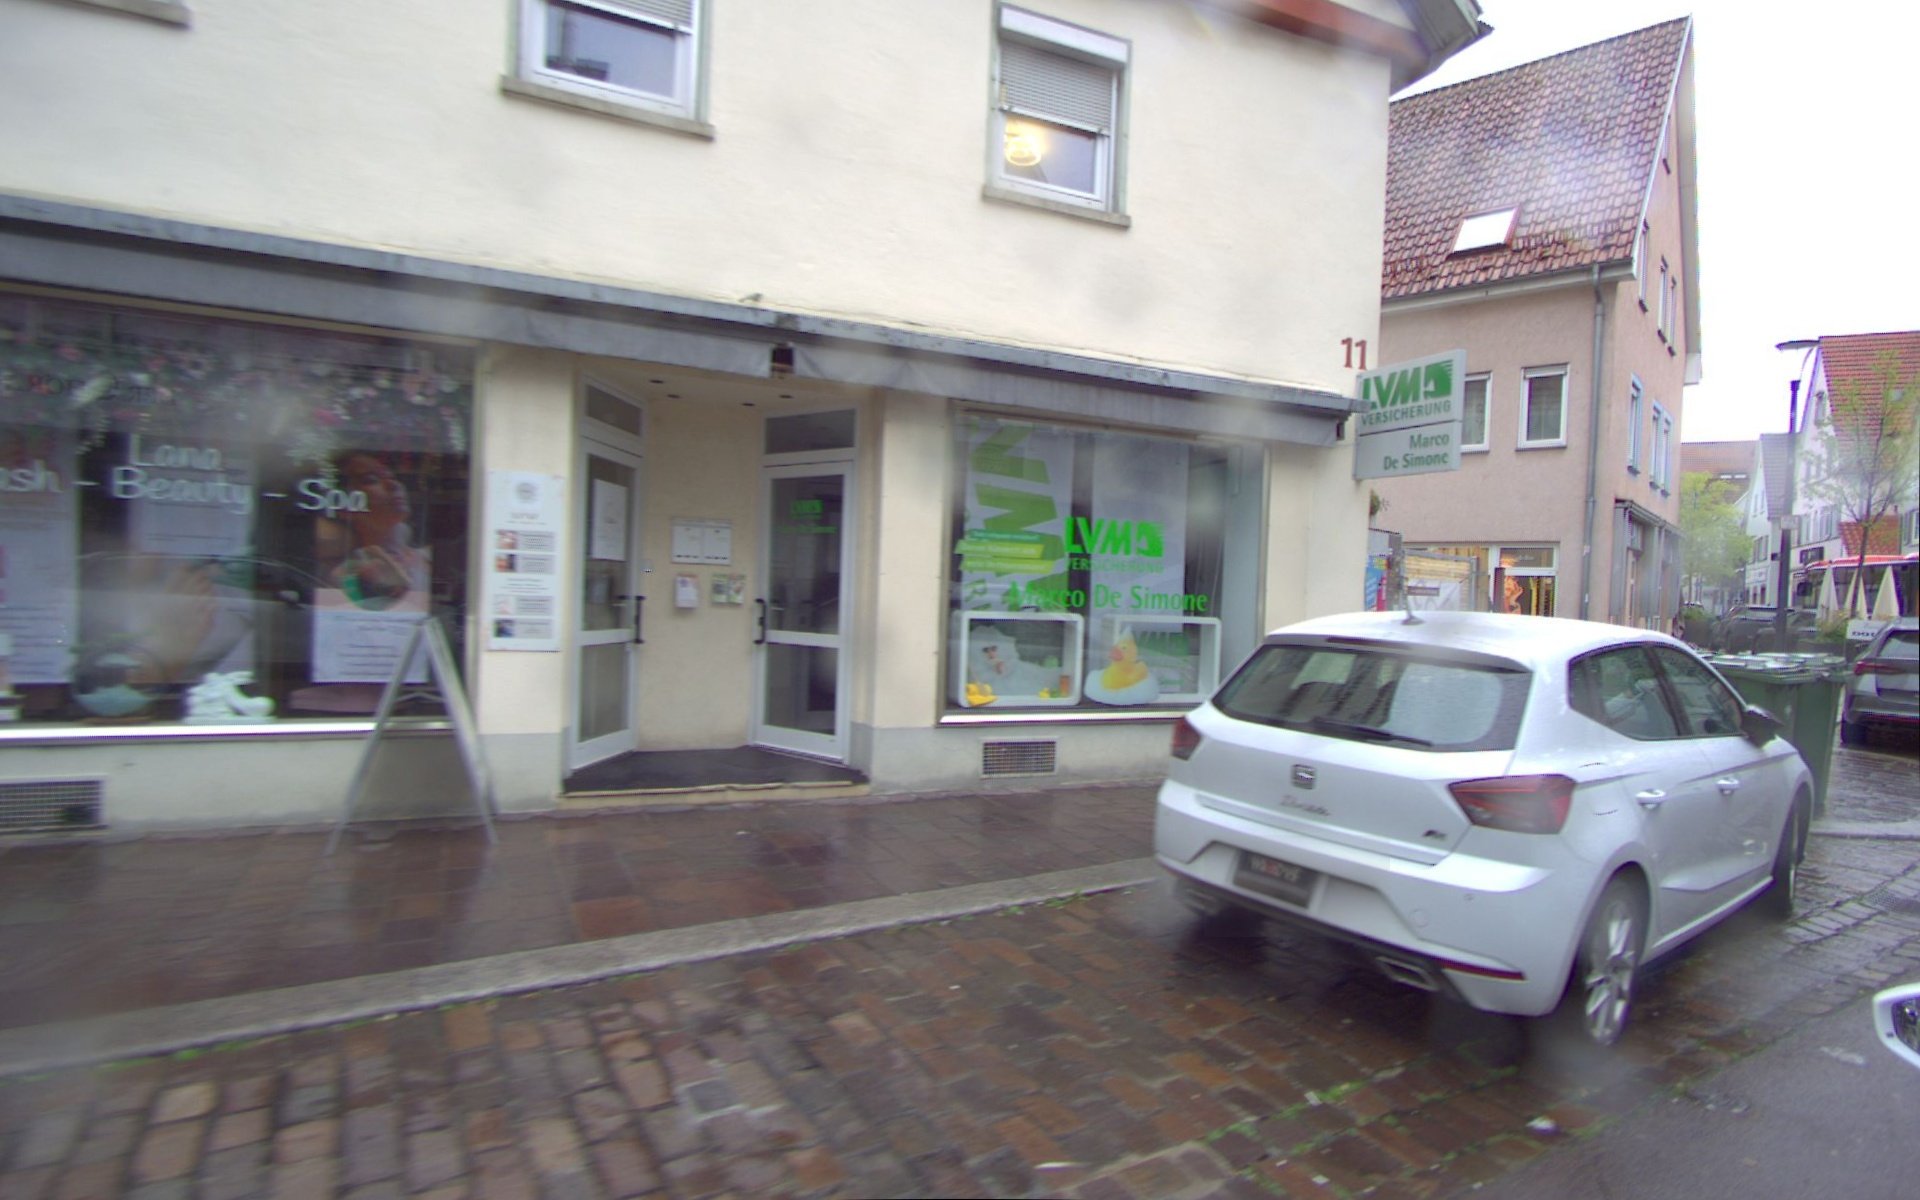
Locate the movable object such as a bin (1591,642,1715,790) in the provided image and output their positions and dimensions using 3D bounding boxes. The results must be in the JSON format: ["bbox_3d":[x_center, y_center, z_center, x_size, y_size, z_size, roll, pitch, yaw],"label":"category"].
[{"bbox_3d":[5.729,0.930,8.306,0.618,1.124,0.655,2,0,-36],"label":"movable object such as a bin"}]

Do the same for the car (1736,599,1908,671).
[{"bbox_3d":[21.315,0.782,25.083,1.772,1.452,4.625,4,2,22],"label":"car"}]

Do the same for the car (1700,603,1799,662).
[{"bbox_3d":[23.207,0.934,29.665,1.568,1.566,3.971,2,0,28],"label":"car"}]

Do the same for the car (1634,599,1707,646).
[{"bbox_3d":[28.362,0.901,40.238,1.745,1.697,4.473,3,0,28],"label":"car"}]

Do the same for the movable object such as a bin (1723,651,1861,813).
[{"bbox_3d":[6.330,0.966,7.645,0.618,1.124,0.655,2,0,-36],"label":"movable object such as a bin"}]

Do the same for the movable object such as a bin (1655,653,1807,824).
[{"bbox_3d":[5.567,0.964,7.267,0.541,1.101,0.687,2,2,-36],"label":"movable object such as a bin"}]

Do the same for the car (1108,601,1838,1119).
[{"bbox_3d":[2.601,0.762,4.706,3.784,1.442,1.676,1,0,-40],"label":"car"}]

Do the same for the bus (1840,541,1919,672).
[{"bbox_3d":[26.668,0.252,27.443,2.602,3.270,6.590,2,0,30],"label":"bus"}]

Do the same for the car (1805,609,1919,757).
[{"bbox_3d":[11.345,0.911,11.639,4.346,1.474,1.973,2,0,-45],"label":"car"}]
